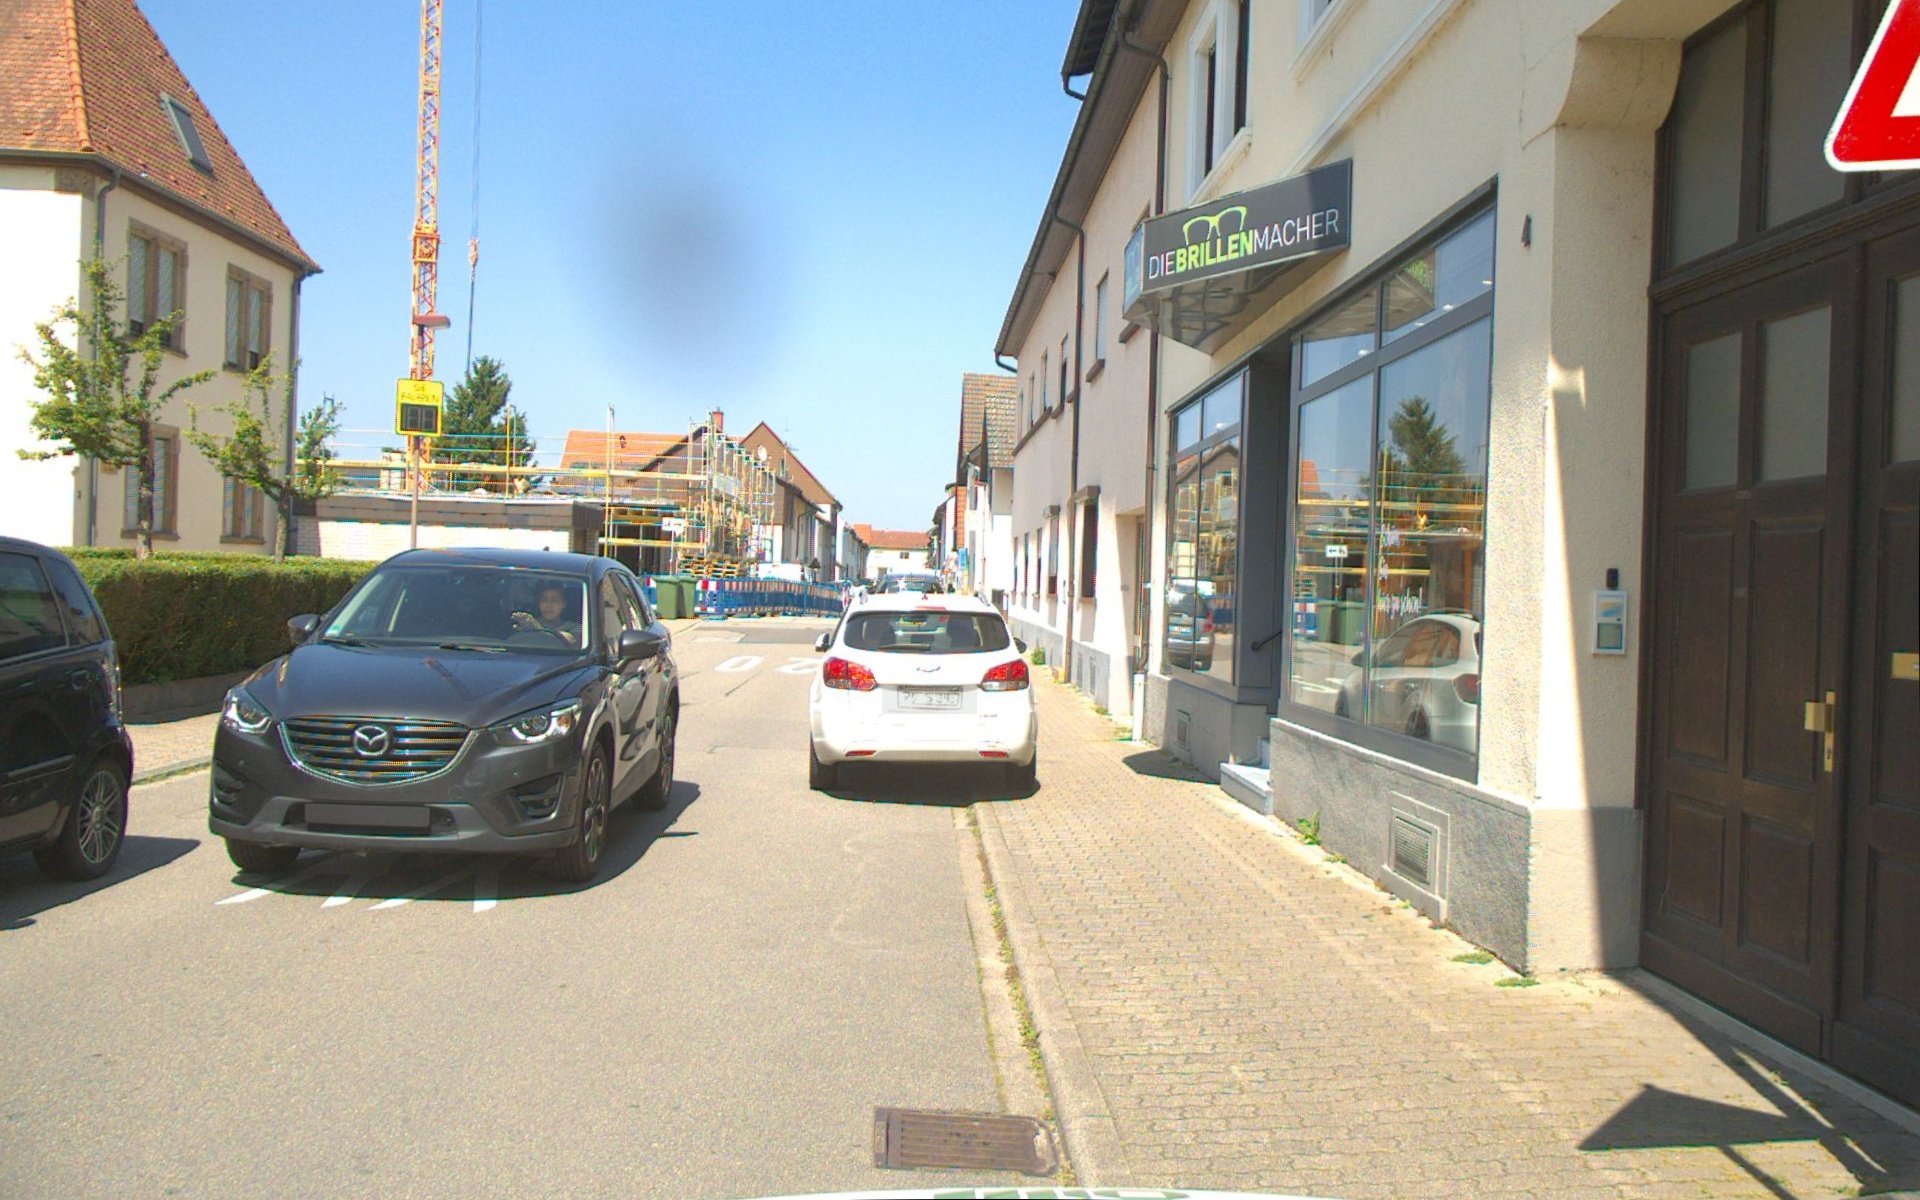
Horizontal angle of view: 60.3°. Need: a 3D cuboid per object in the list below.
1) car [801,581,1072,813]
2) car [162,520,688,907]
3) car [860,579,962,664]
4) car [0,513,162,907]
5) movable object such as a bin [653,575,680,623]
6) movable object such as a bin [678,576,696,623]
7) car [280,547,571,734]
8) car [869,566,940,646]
[{"bbox_3d":[-0.346,0.662,13.709,1.850,1.569,4.238,2,0,-5],"label":"car"},{"bbox_3d":[-2.763,0.504,9.589,1.844,1.697,4.151,2,0,-3],"label":"car"},{"bbox_3d":[-1.053,0.382,33.629,1.847,1.583,3.891,-1,1,-5],"label":"car"},{"bbox_3d":[-4.799,0.441,6.463,1.605,1.657,3.766,2,1,-2],"label":"car"},{"bbox_3d":[-7.430,-0.036,41.906,0.610,1.175,0.676,2,0,-9],"label":"movable object such as a bin"},{"bbox_3d":[-6.997,-0.012,42.403,0.424,1.175,0.363,2,0,-12],"label":"movable object such as a bin"},{"bbox_3d":[-5.401,0.355,17.305,1.790,1.659,4.215,2,0,-3],"label":"car"},{"bbox_3d":[-1.300,0.096,38.800,1.533,1.641,3.542,2,3,-2],"label":"car"}]
